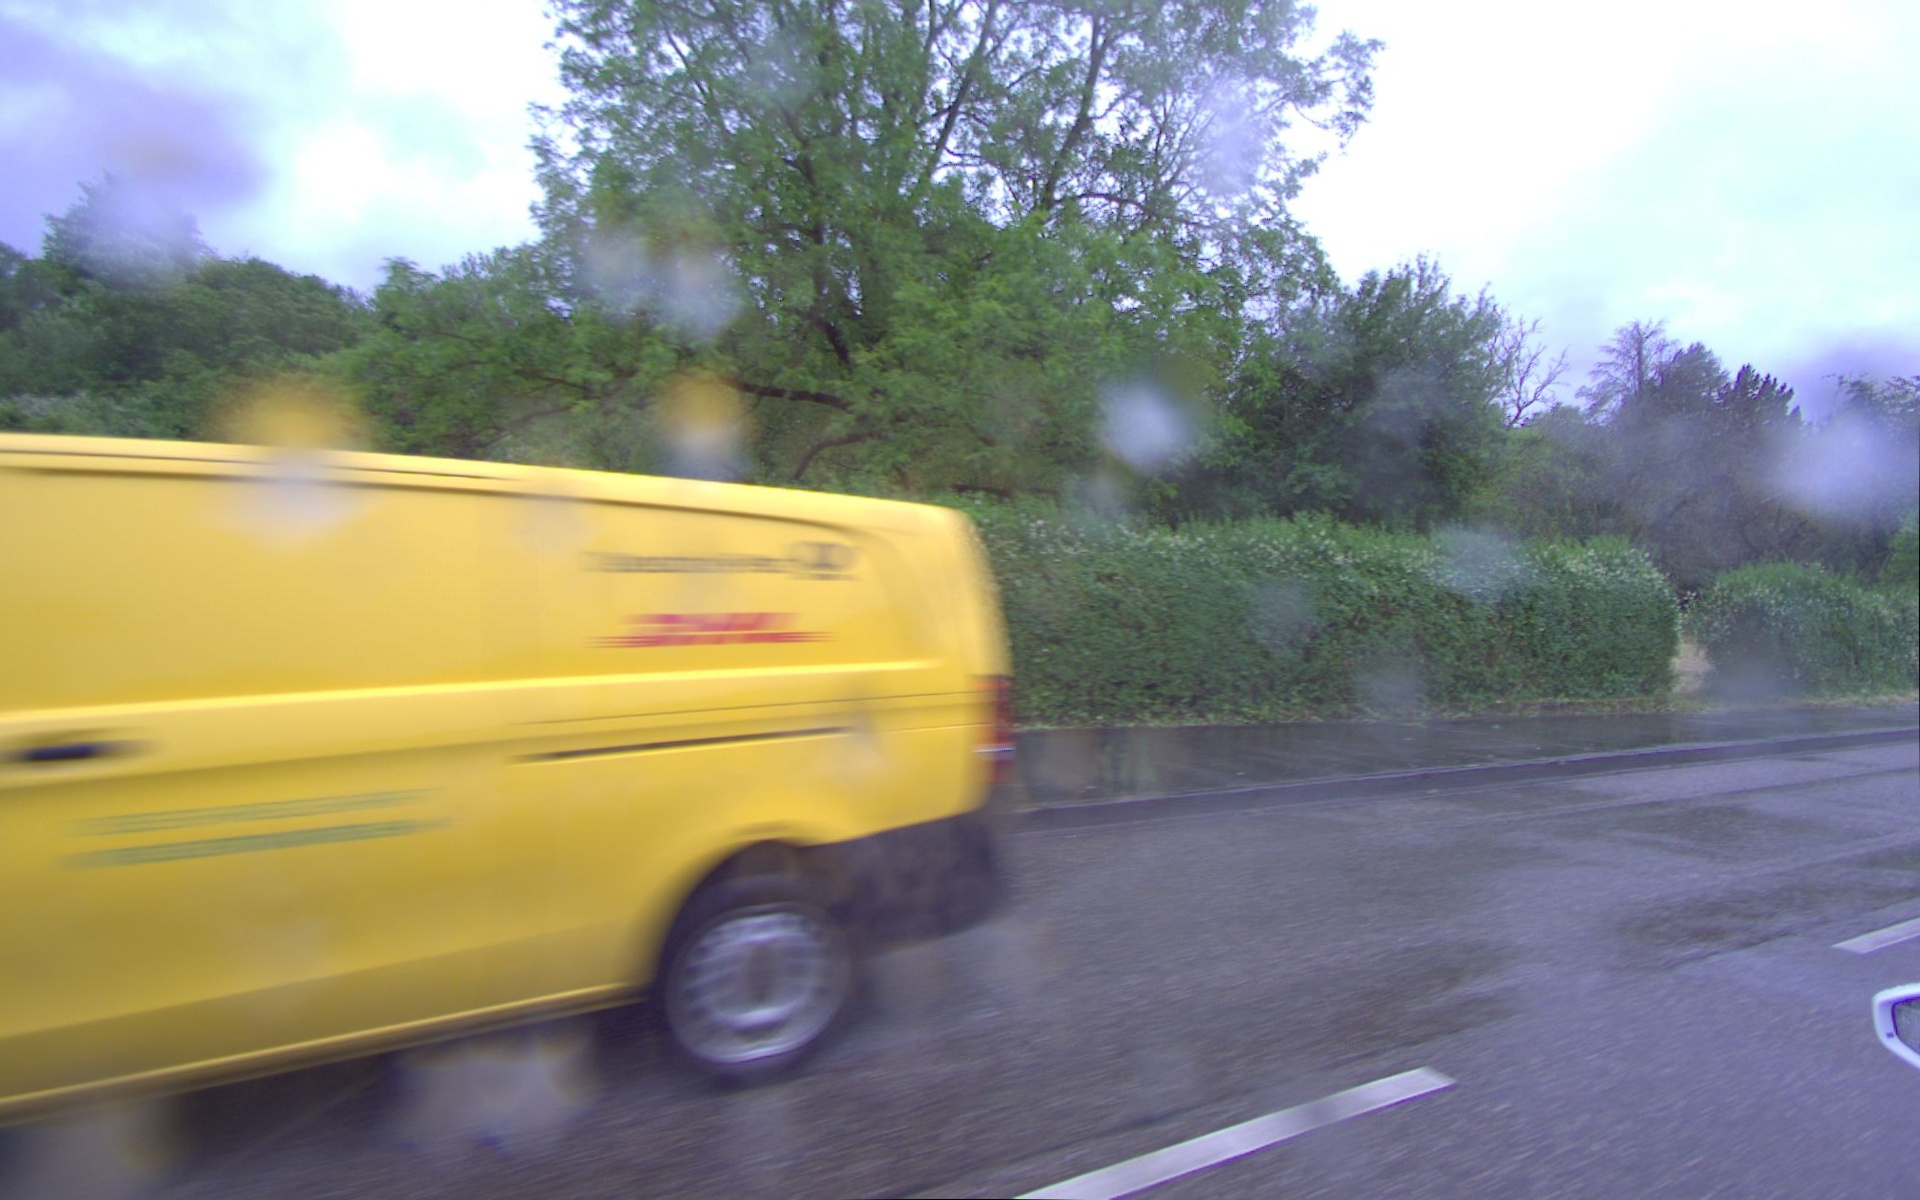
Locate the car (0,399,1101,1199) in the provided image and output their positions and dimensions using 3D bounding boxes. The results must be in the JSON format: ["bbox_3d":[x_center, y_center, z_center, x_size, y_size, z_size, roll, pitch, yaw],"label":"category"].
[{"bbox_3d":[-2.132,0.538,3.218,4.974,1.896,1.929,1,-1,-29],"label":"car"}]
